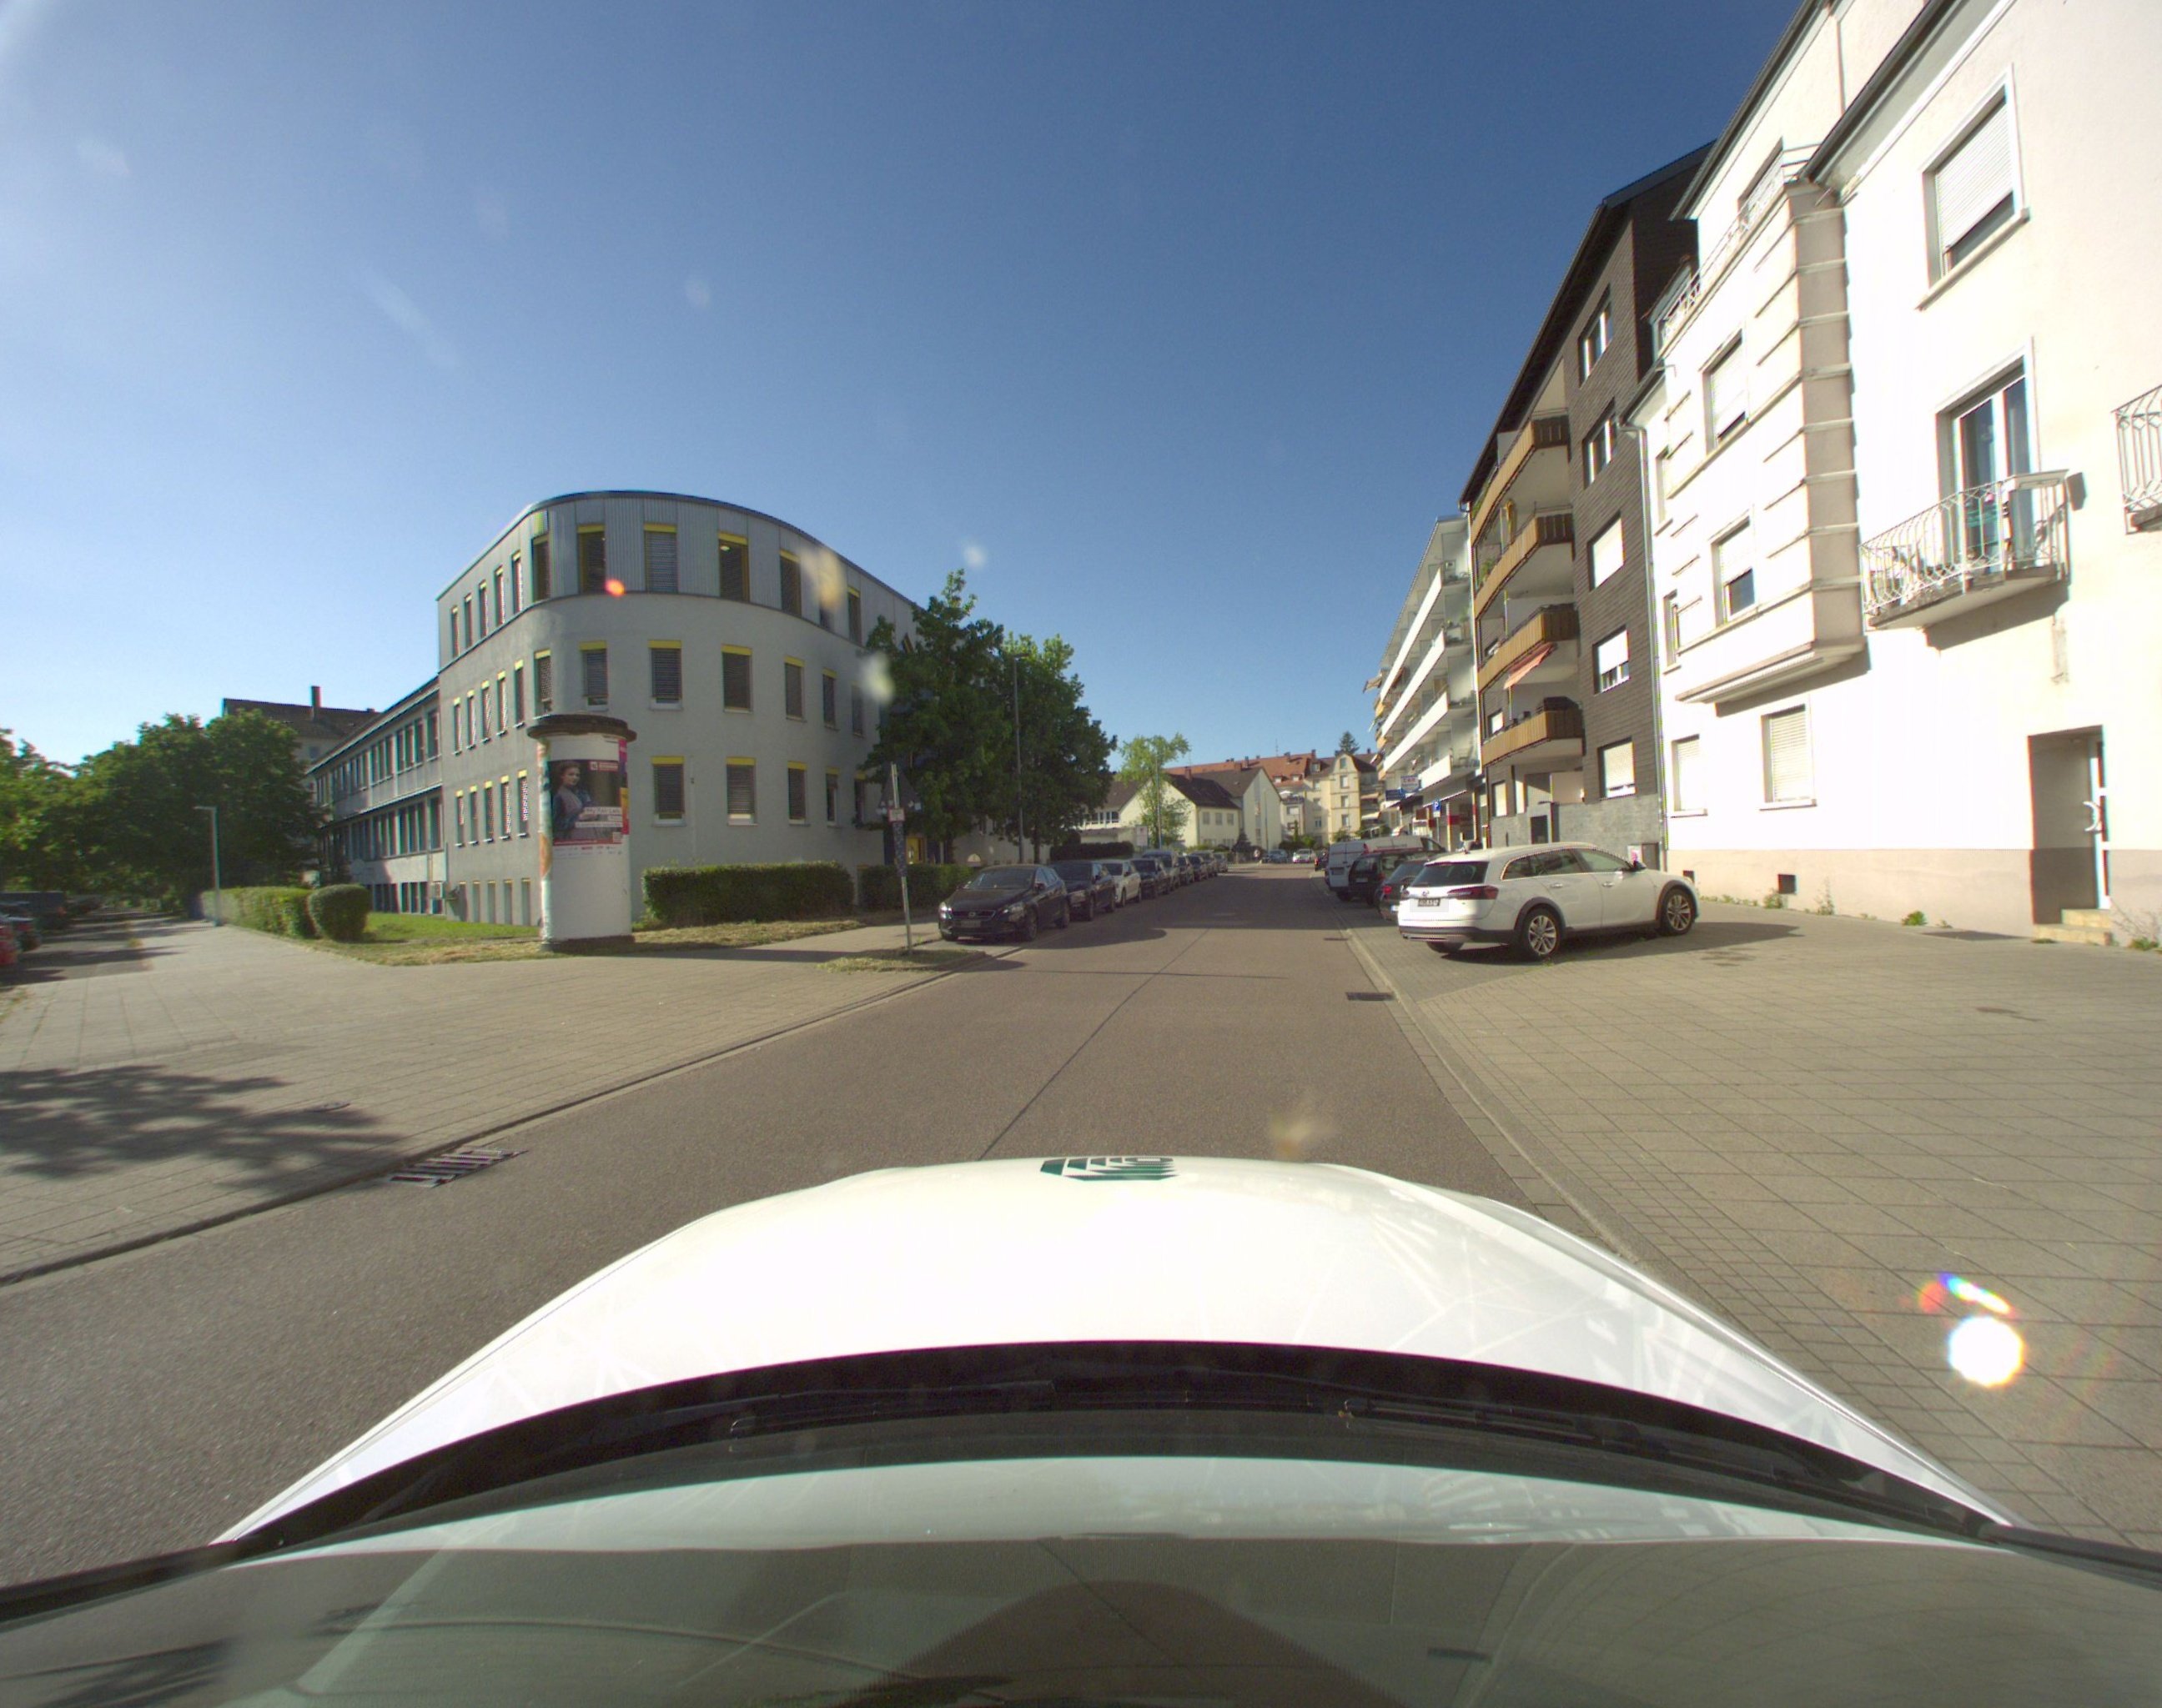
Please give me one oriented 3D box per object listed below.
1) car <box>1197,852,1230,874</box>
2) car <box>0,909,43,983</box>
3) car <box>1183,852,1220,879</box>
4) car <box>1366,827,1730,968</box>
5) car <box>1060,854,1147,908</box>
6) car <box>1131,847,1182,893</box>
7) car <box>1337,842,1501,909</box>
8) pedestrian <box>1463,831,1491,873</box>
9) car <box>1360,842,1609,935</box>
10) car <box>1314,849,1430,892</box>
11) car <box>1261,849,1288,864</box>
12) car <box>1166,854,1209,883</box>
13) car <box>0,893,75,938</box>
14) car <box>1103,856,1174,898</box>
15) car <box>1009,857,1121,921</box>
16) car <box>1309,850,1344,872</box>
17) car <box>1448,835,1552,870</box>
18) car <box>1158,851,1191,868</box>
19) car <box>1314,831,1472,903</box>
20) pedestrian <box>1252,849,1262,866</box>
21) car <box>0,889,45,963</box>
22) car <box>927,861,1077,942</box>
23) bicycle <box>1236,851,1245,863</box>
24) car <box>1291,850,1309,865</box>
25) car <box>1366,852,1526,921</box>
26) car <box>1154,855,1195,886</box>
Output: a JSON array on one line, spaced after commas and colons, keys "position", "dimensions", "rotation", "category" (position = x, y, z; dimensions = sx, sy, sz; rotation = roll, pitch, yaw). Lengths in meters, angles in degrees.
[{"position": [10.024, 0.660, 61.315], "dimensions": [1.979, 1.534, 4.937], "rotation": [-2, 0, 14], "category": "car"}, {"position": [-20.908, 1.721, 13.224], "dimensions": [1.706, 1.274, 4.917], "rotation": [-3, -1, 36], "category": "car"}, {"position": [7.661, 0.715, 51.634], "dimensions": [1.707, 1.586, 4.440], "rotation": [-2, 0, 16], "category": "car"}, {"position": [6.857, 0.530, 11.966], "dimensions": [4.876, 1.464, 1.959], "rotation": [-5, 0, -21], "category": "car"}, {"position": [0.836, 0.828, 26.324], "dimensions": [1.895, 1.530, 4.641], "rotation": [-2, -1, 13], "category": "car"}, {"position": [3.410, 0.658, 36.132], "dimensions": [1.676, 1.838, 4.356], "rotation": [-2, 0, 12], "category": "car"}, {"position": [9.304, 0.588, 22.452], "dimensions": [3.995, 1.489, 1.607], "rotation": [-4, -2, -18], "category": "car"}, {"position": [15.621, -0.065, 32.134], "dimensions": [0.826, 1.593, 0.893], "rotation": [-3, -1, 19], "category": "pedestrian"}, {"position": [7.656, 0.625, 15.507], "dimensions": [4.172, 1.497, 1.810], "rotation": [-2, -2, -20], "category": "car"}, {"position": [11.814, 0.666, 32.960], "dimensions": [4.659, 1.466, 1.675], "rotation": [-2, -2, -29], "category": "car"}, {"position": [21.139, 0.283, 88.705], "dimensions": [1.780, 1.473, 4.357], "rotation": [-1, 1, 28], "category": "car"}, {"position": [6.081, 0.783, 46.024], "dimensions": [1.713, 1.465, 4.458], "rotation": [-2, 0, 16], "category": "car"}, {"position": [-44.732, 2.598, 33.355], "dimensions": [1.974, 1.699, 4.321], "rotation": [-3, 0, 37], "category": "car"}, {"position": [2.294, 0.821, 31.107], "dimensions": [1.719, 1.439, 4.631], "rotation": [-2, 0, 16], "category": "car"}, {"position": [-0.296, 0.865, 21.536], "dimensions": [1.895, 1.479, 4.395], "rotation": [-2, -1, 13], "category": "car"}, {"position": [18.220, 0.503, 60.343], "dimensions": [1.953, 1.450, 5.030], "rotation": [-2, -1, 22], "category": "car"}, {"position": [21.478, -0.058, 41.884], "dimensions": [4.359, 1.512, 1.987], "rotation": [-3, -1, 14], "category": "car"}, {"position": [9.225, 0.605, 79.930], "dimensions": [1.782, 1.556, 3.208], "rotation": [-3, -3, 38], "category": "car"}, {"position": [9.912, 0.408, 25.851], "dimensions": [4.540, 1.898, 2.032], "rotation": [-3, -3, -27], "category": "car"}, {"position": [18.390, 0.363, 85.117], "dimensions": [0.676, 1.704, 0.829], "rotation": [-3, -3, 36], "category": "pedestrian"}, {"position": [-27.218, 1.821, 18.611], "dimensions": [1.974, 1.699, 4.321], "rotation": [-3, 0, 37], "category": "car"}, {"position": [-1.462, 0.884, 16.748], "dimensions": [1.776, 1.410, 4.238], "rotation": [-2, 0, 13], "category": "car"}, {"position": [17.651, 0.359, 89.915], "dimensions": [0.452, 1.250, 1.939], "rotation": [-3, -3, 26], "category": "bicycle"}, {"position": [23.310, 0.330, 86.607], "dimensions": [1.713, 1.485, 4.123], "rotation": [-2, 0, 16], "category": "car"}, {"position": [8.416, 0.701, 18.774], "dimensions": [3.404, 1.388, 1.527], "rotation": [-2, -1, -26], "category": "car"}, {"position": [4.752, 0.782, 41.023], "dimensions": [1.587, 1.440, 4.013], "rotation": [-2, 0, 12], "category": "car"}]
